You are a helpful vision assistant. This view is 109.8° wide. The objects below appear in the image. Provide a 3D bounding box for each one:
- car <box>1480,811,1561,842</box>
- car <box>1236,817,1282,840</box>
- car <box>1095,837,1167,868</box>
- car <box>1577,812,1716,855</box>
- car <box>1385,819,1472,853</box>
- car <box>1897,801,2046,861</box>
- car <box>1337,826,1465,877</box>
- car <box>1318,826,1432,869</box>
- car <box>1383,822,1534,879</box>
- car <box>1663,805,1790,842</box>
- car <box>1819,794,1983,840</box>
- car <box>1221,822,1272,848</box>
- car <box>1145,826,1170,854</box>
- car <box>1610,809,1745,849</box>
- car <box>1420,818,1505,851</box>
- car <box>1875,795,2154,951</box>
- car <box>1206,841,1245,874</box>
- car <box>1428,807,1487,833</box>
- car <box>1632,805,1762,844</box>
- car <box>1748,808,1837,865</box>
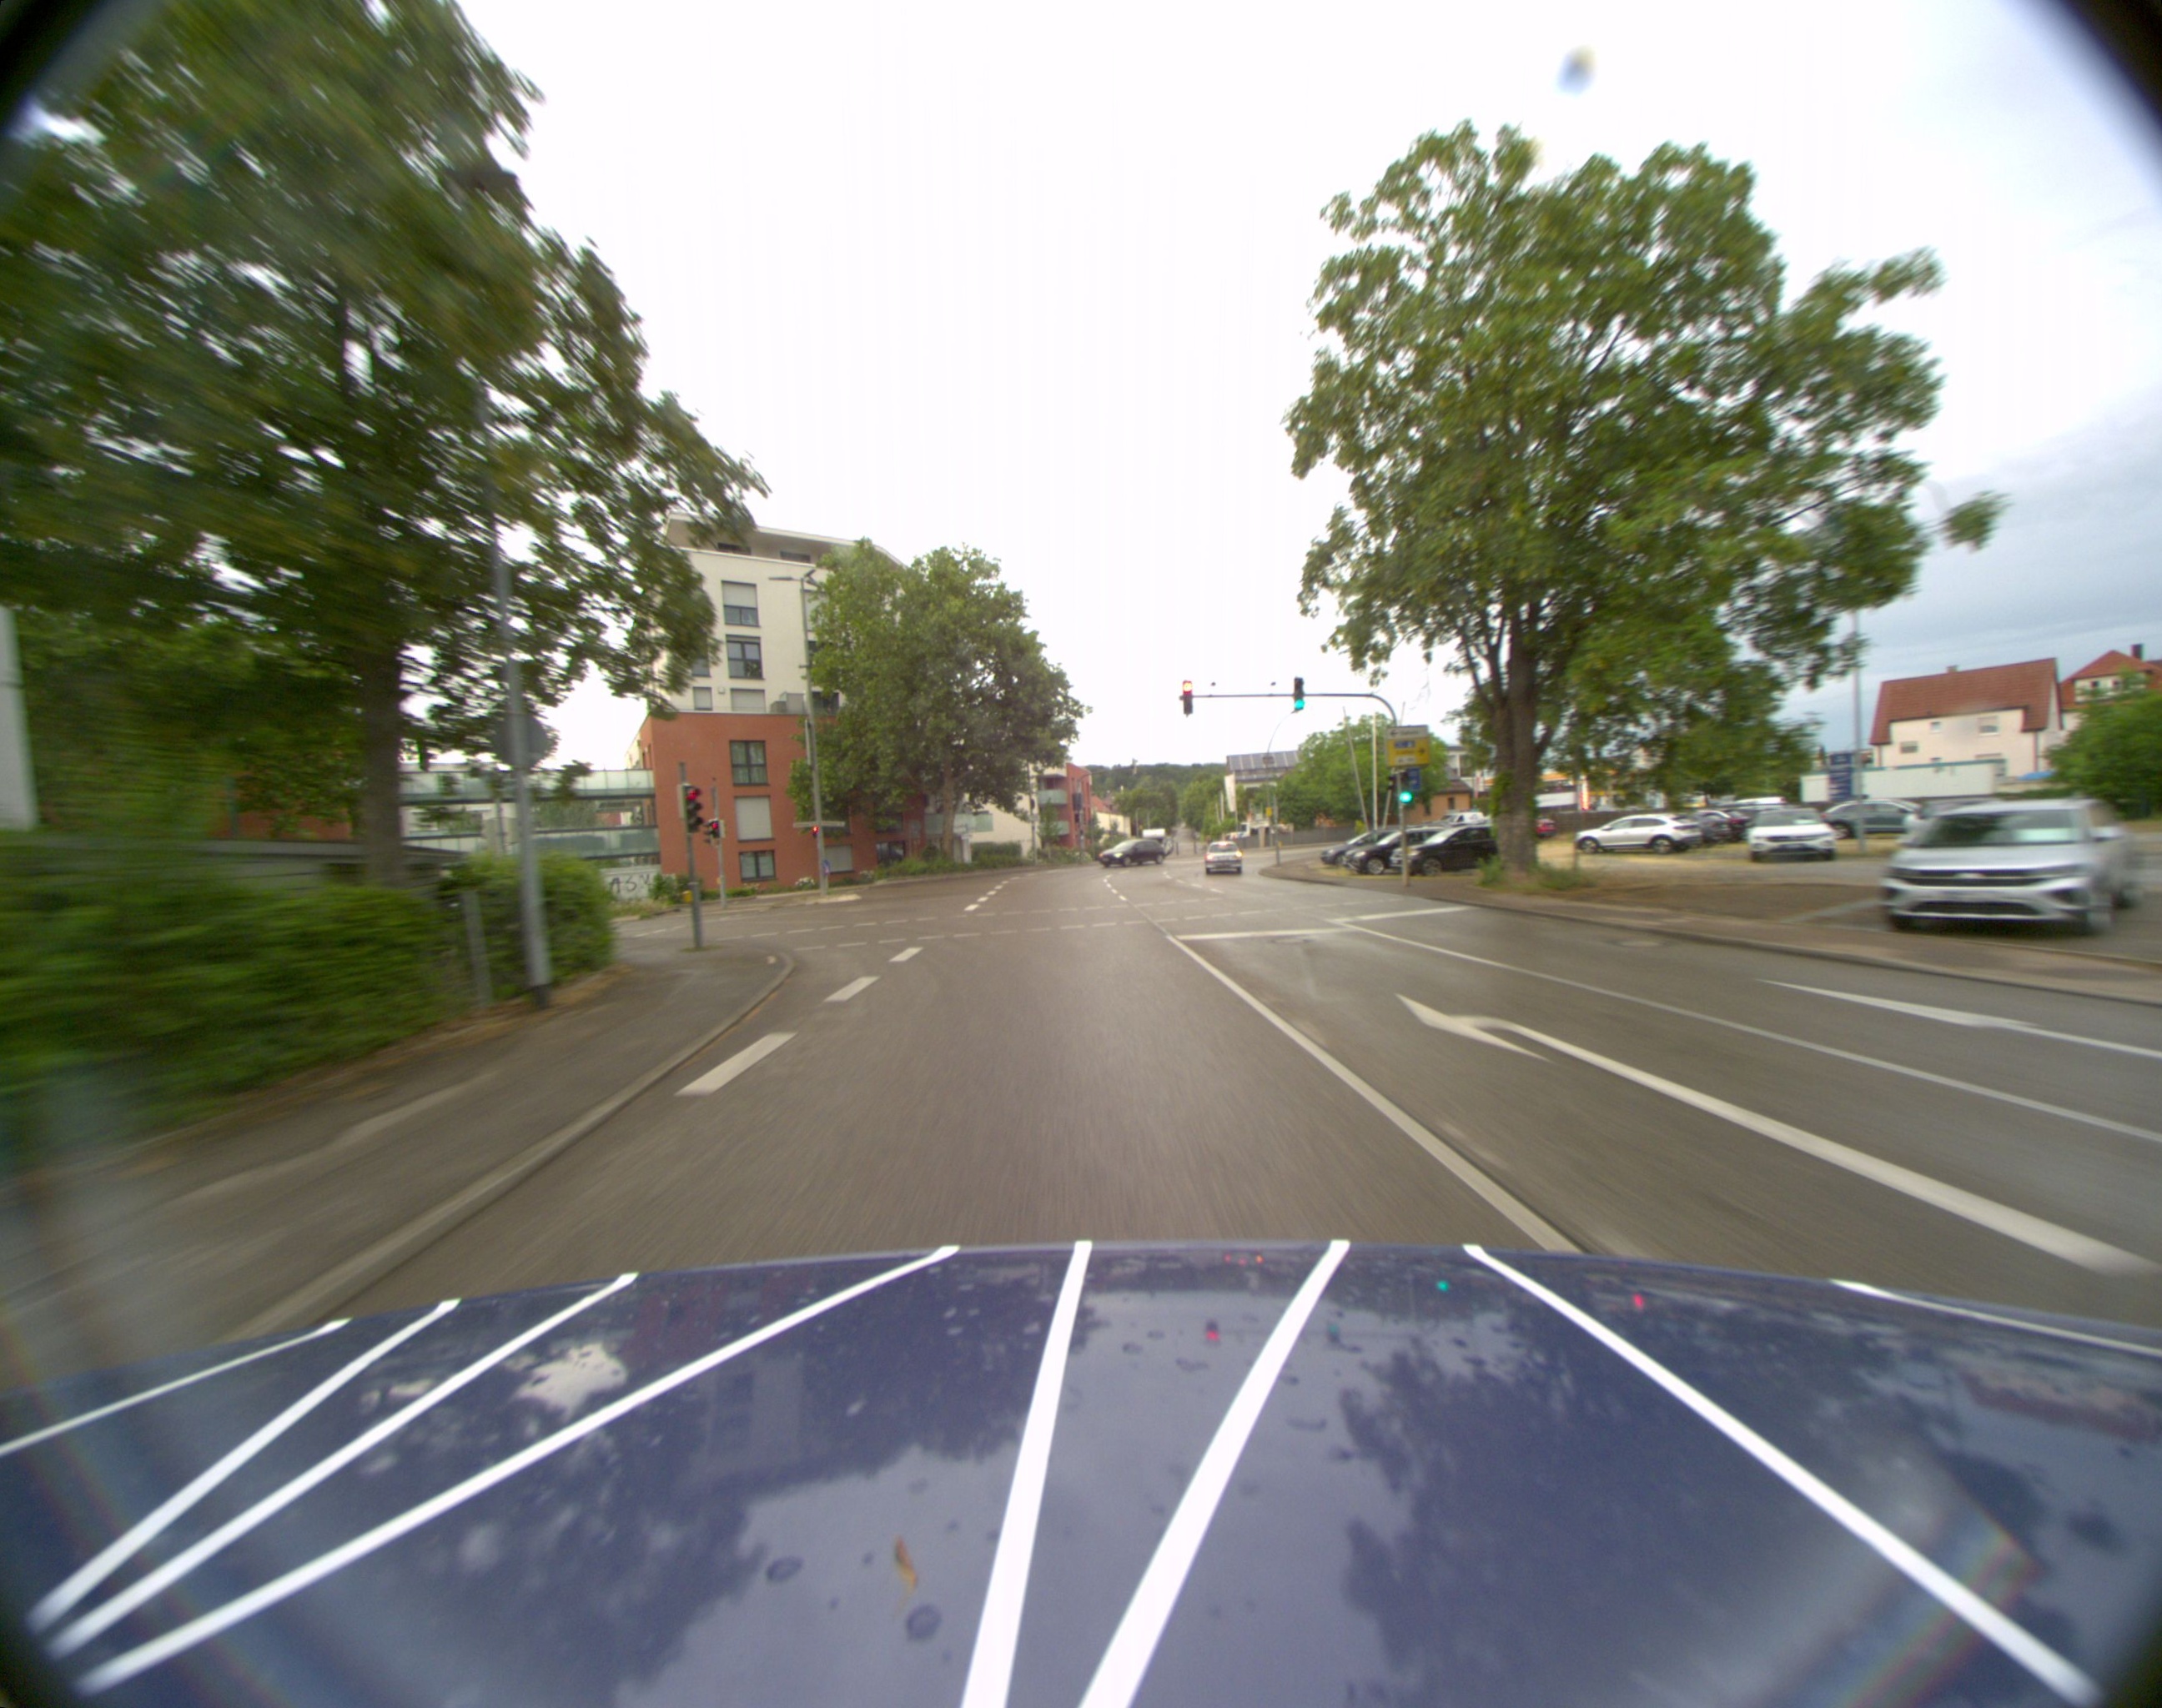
[{"bbox_3d":[25.716,-1.587,44.554,1.595,1.542,3.765,-5,2,-41],"label":"car"},{"bbox_3d":[16.872,-2.430,72.089,1.773,2.094,4.211,-5,5,-32],"label":"car"},{"bbox_3d":[2.869,-0.118,42.933,4.006,1.419,1.765,-6,4,-44],"label":"car"},{"bbox_3d":[22.323,-0.776,30.144,1.793,1.444,4.034,-4,2,-32],"label":"car"},{"bbox_3d":[18.165,-0.927,39.824,1.595,1.542,3.765,-5,2,-41],"label":"car"},{"bbox_3d":[24.147,-0.651,20.775,1.825,1.407,4.017,-2,1,38],"label":"car"},{"bbox_3d":[11.213,-0.103,26.822,3.765,1.558,1.672,-3,1,5],"label":"car"},{"bbox_3d":[11.997,-0.258,31.275,4.153,1.502,1.673,-3,2,15],"label":"car"},{"bbox_3d":[11.862,-0.118,24.064,3.893,1.558,1.672,-3,1,2],"label":"car"},{"bbox_3d":[29.336,-1.351,34.631,1.793,1.444,4.034,-4,2,-32],"label":"car"},{"bbox_3d":[32.158,-1.425,29.926,1.793,1.546,4.035,-4,1,-28],"label":"car"},{"bbox_3d":[14.448,-1.726,66.477,1.773,2.094,4.372,-5,5,-30],"label":"car"},{"bbox_3d":[8.552,-1.587,84.377,2.573,2.759,6.127,-2,4,7],"label":"car"},{"bbox_3d":[24.671,-1.001,31.558,1.793,1.444,4.034,-4,2,-32],"label":"car"},{"bbox_3d":[20.655,-1.040,41.223,1.595,1.542,3.765,-5,2,-41],"label":"car"},{"bbox_3d":[12.574,0.162,10.187,4.013,1.561,1.717,-6,1,-30],"label":"car"},{"bbox_3d":[6.723,0.143,35.252,1.648,1.372,3.705,-2,1,11],"label":"car"},{"bbox_3d":[32.575,-2.966,65.733,5.263,2.074,2.049,-3,1,-31],"label":"car"},{"bbox_3d":[26.945,-1.250,33.353,1.793,1.444,4.034,-4,2,-32],"label":"car"},{"bbox_3d":[21.511,-0.564,23.098,1.786,1.501,4.051,-2,2,41],"label":"car"}]
